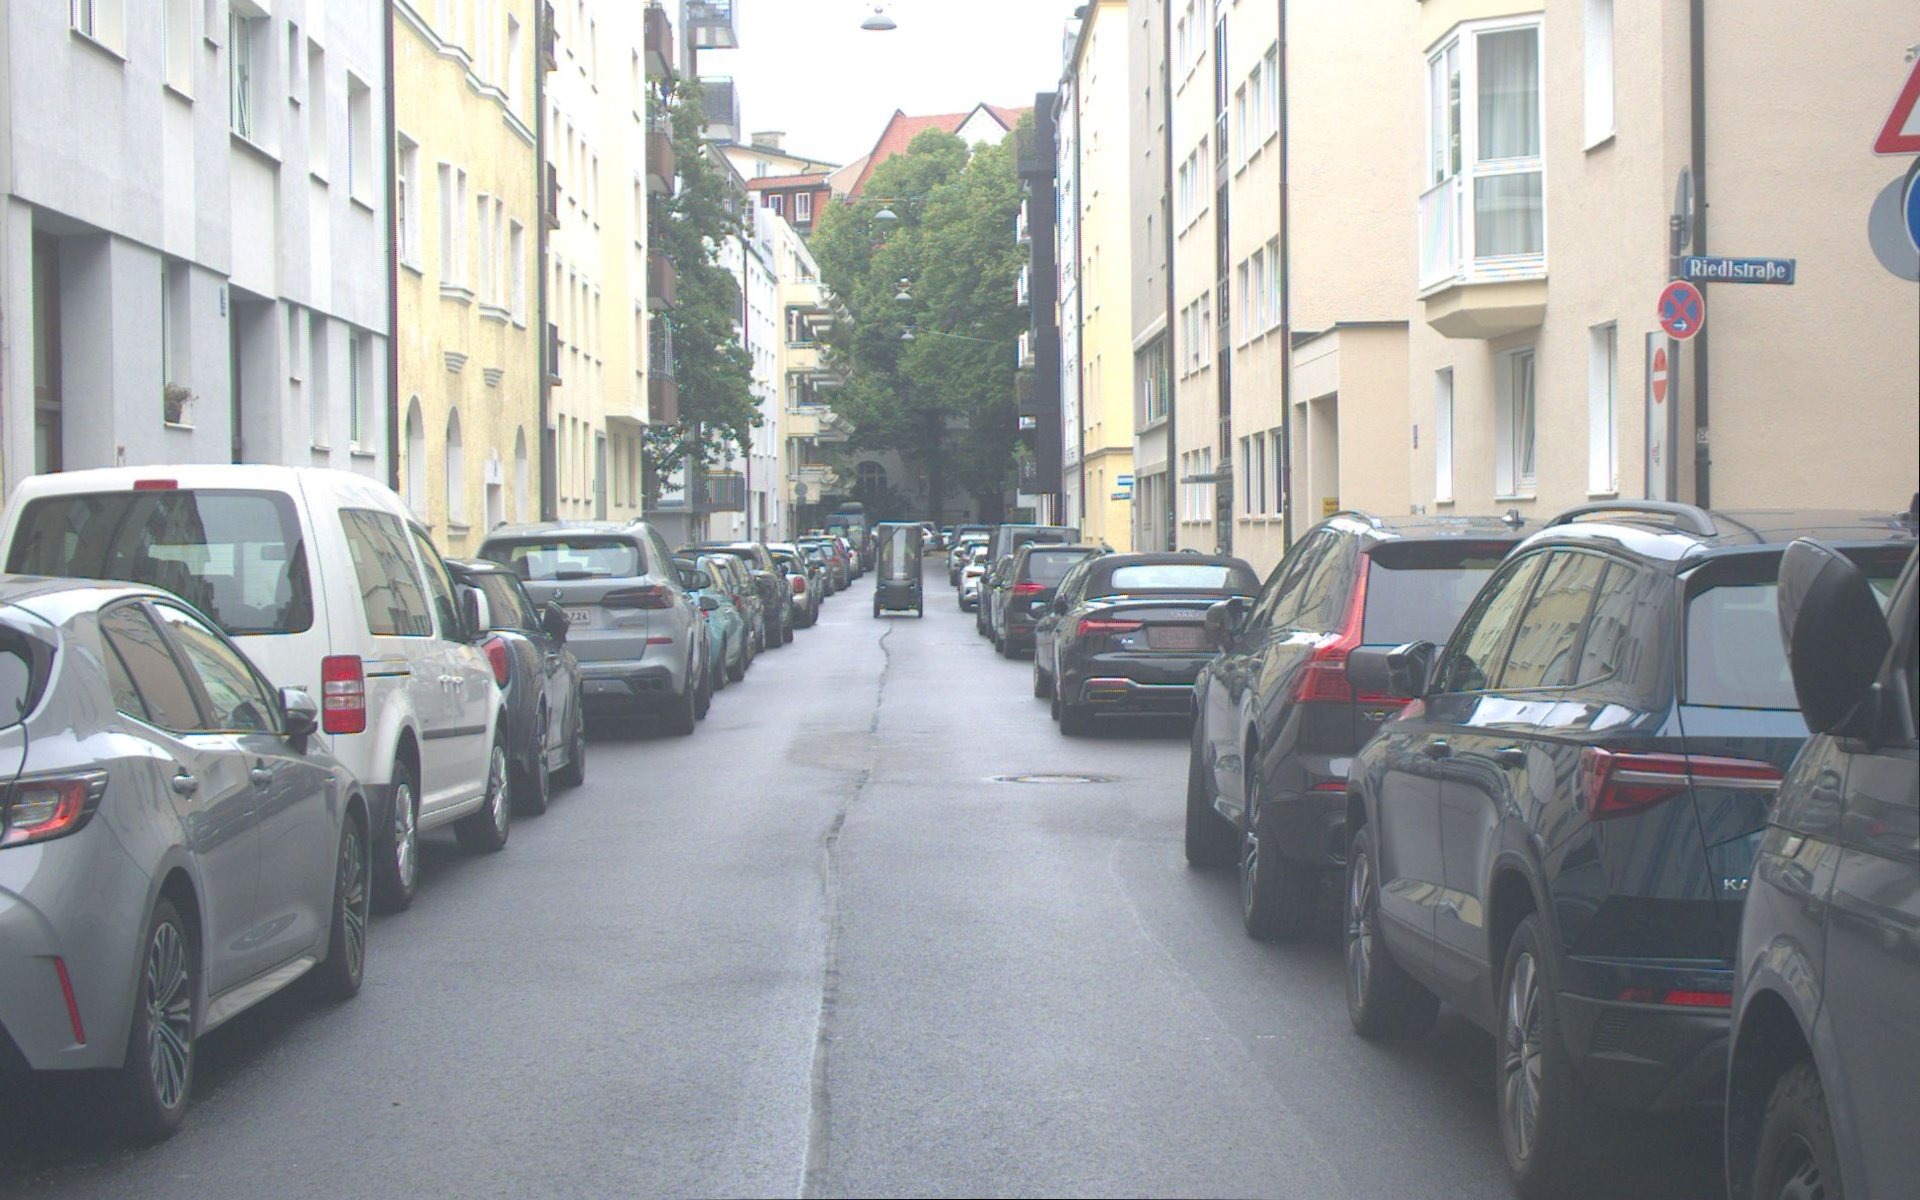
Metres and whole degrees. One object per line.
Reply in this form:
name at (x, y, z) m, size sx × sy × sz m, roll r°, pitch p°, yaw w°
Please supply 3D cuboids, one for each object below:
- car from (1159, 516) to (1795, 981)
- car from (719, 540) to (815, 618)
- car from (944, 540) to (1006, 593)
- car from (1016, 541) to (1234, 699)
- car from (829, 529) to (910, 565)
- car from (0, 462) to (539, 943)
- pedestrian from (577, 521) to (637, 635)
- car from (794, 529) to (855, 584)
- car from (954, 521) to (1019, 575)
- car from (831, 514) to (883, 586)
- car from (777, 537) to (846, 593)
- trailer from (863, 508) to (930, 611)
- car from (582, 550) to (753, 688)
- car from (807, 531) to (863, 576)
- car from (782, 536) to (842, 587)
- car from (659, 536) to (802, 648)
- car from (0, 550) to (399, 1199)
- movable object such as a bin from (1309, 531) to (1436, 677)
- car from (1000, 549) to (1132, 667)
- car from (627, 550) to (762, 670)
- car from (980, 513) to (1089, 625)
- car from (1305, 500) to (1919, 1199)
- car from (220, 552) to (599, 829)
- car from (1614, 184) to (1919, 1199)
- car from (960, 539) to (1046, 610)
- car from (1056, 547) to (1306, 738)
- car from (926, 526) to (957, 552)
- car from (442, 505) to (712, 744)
car at (1.947, 0.499, 14.290) m, size 1.832 × 1.616 × 4.411 m, roll 1°, pitch 1°, yaw -2°
car at (-3.723, -0.430, 66.869) m, size 1.652 × 1.431 × 3.803 m, roll -1°, pitch 1°, yaw 0°
car at (0.468, -1.096, 109.750) m, size 1.682 × 1.562 × 4.416 m, roll 2°, pitch 1°, yaw -3°
car at (1.593, 0.163, 34.702) m, size 1.716 × 1.466 × 4.532 m, roll 1°, pitch 1°, yaw -3°
car at (-4.452, -2.612, 169.472) m, size 3.885 × 1.579 × 1.648 m, roll -3°, pitch 1°, yaw -1°
car at (-3.061, 0.370, 15.324) m, size 1.724 × 1.783 × 4.249 m, roll -2°, pitch 1°, yaw 1°
pedestrian at (-5.479, -0.345, 53.421) m, size 0.839 × 1.758 × 1.068 m, roll 0°, pitch 1°, yaw -1°
car at (-4.249, -1.388, 108.270) m, size 1.776 × 1.623 × 4.415 m, roll -2°, pitch 1°, yaw -1°
car at (0.751, -1.536, 99.834) m, size 1.751 × 1.464 × 4.343 m, roll 2°, pitch 1°, yaw -1°
car at (-4.217, -2.071, 141.167) m, size 1.936 × 2.792 × 4.533 m, roll -3°, pitch 1°, yaw -1°
car at (-4.054, -0.974, 94.444) m, size 1.693 × 1.437 × 3.942 m, roll -2°, pitch 1°, yaw 0°
trailer at (-1.333, -0.854, 73.149) m, size 1.355 × 2.108 × 3.318 m, roll -1°, pitch 0°, yaw 0°
car at (-3.262, 0.182, 38.841) m, size 1.563 × 1.455 × 3.404 m, roll -1°, pitch 1°, yaw 1°
car at (-4.441, -1.677, 122.581) m, size 1.777 × 1.482 × 4.519 m, roll -3°, pitch 1°, yaw 0°
car at (-4.390, -1.165, 102.300) m, size 1.693 × 1.437 × 3.978 m, roll -2°, pitch 1°, yaw -2°
car at (-3.582, -0.152, 54.354) m, size 1.879 × 1.654 × 4.415 m, roll -1°, pitch 1°, yaw 1°
car at (-2.807, 0.645, 9.906) m, size 1.672 × 1.470 × 4.112 m, roll -2°, pitch 1°, yaw 0°
movable object such as a bin at (4.218, 0.035, 35.310) m, size 1.032 × 1.418 × 1.587 m, roll -2°, pitch 1°, yaw -1°
car at (1.484, 0.081, 49.273) m, size 1.711 × 1.602 × 4.244 m, roll 1°, pitch 1°, yaw 0°
car at (-3.422, 0.101, 44.793) m, size 1.563 × 1.455 × 3.764 m, roll -1°, pitch 1°, yaw -2°
car at (1.378, -0.619, 64.853) m, size 1.750 × 1.968 × 4.343 m, roll 2°, pitch 1°, yaw -2°
car at (2.114, 0.588, 9.040) m, size 1.832 × 1.616 × 4.324 m, roll 1°, pitch 1°, yaw -2°
car at (-3.130, 0.479, 20.191) m, size 1.651 × 1.406 × 3.735 m, roll -2°, pitch 0°, yaw -1°
car at (2.267, 0.446, 4.018) m, size 1.873 × 2.007 × 5.107 m, roll 1°, pitch 0°, yaw -2°
car at (0.970, -0.612, 79.453) m, size 1.819 × 1.403 × 3.953 m, roll 0°, pitch 4°, yaw -2°
car at (1.705, 0.290, 27.715) m, size 1.833 × 1.401 × 4.411 m, roll 1°, pitch 1°, yaw 2°
car at (-1.000, -3.327, 186.686) m, size 1.642 × 1.379 × 3.746 m, roll 1°, pitch 1°, yaw -1°
car at (-3.133, 0.161, 28.973) m, size 1.862 × 1.764 × 4.736 m, roll -3°, pitch 1°, yaw -2°
